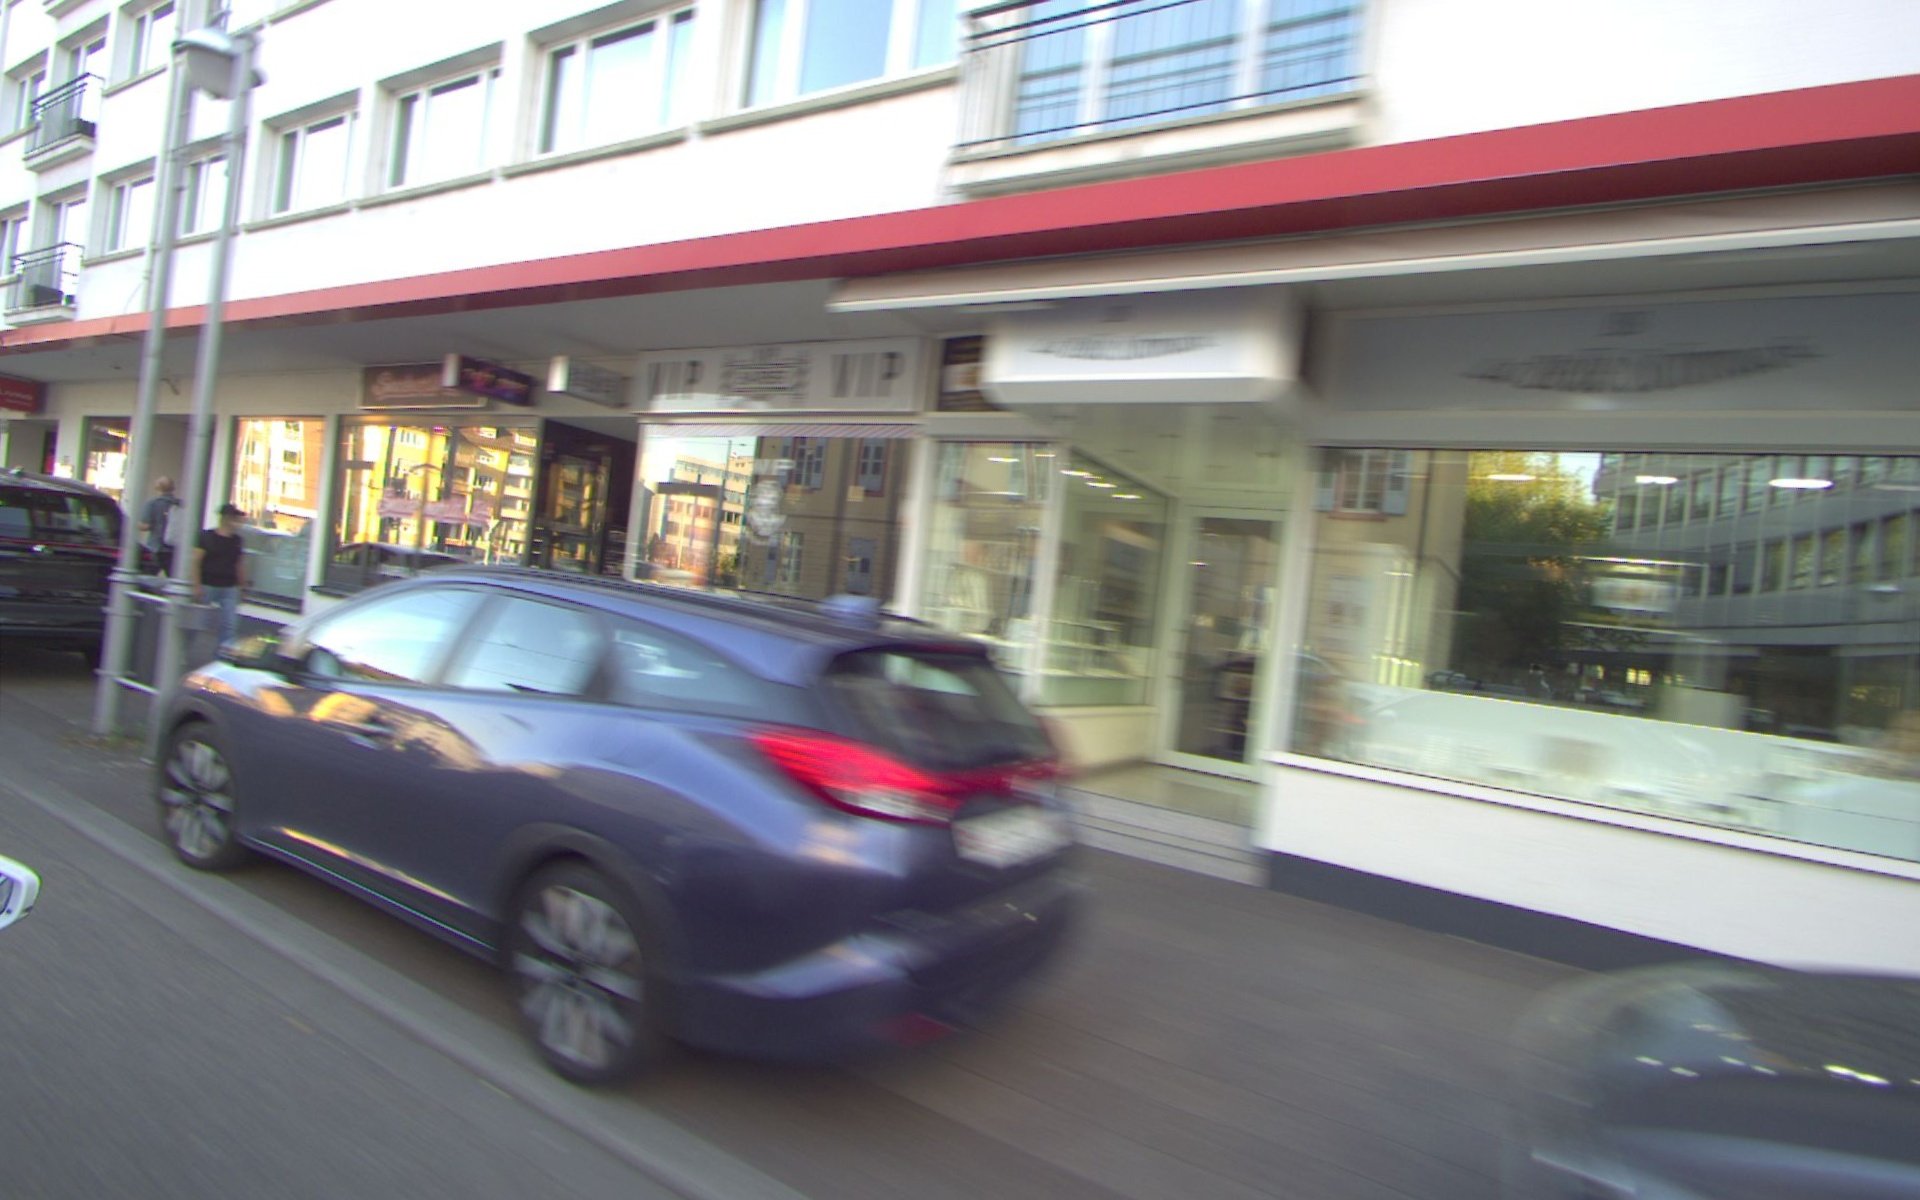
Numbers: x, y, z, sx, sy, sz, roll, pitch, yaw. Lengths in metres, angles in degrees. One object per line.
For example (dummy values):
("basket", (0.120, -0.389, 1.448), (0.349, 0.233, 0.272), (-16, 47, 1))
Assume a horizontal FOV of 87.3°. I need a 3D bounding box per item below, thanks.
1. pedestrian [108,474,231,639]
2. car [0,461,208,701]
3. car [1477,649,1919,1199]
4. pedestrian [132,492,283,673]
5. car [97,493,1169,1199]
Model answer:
("pedestrian", (-9.782, -0.526, 12.459), (0.919, 1.903, 0.775), (6, 0, 30))
("car", (-8.725, -0.312, 8.773), (4.345, 1.720, 1.860), (6, -3, 32))
("car", (3.199, 1.156, 0.943), (4.776, 1.550, 1.796), (6, -3, 31))
("pedestrian", (-7.252, -0.163, 9.701), (0.951, 1.593, 0.734), (7, 0, 31))
("car", (-1.565, 0.588, 4.196), (4.285, 1.539, 1.785), (7, -2, 32))
